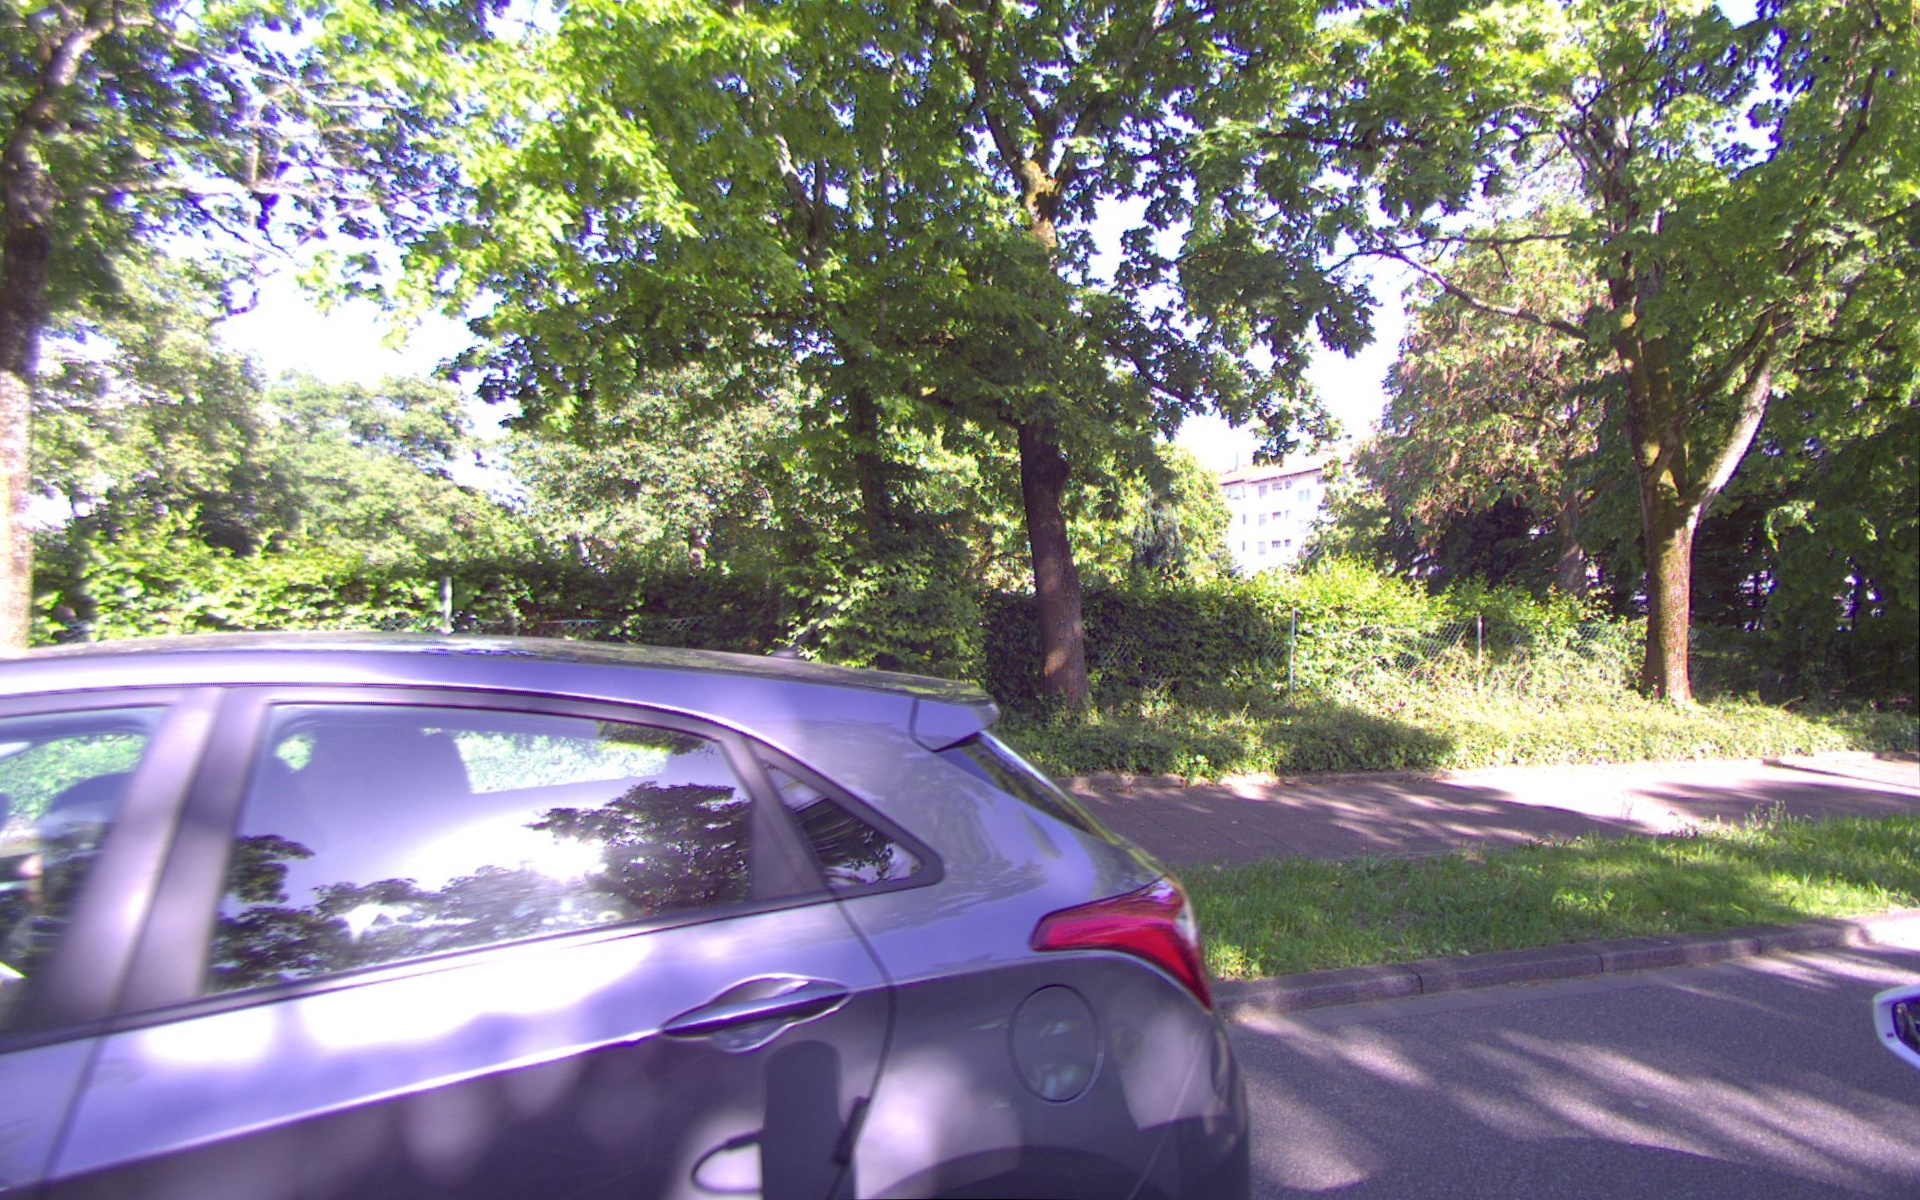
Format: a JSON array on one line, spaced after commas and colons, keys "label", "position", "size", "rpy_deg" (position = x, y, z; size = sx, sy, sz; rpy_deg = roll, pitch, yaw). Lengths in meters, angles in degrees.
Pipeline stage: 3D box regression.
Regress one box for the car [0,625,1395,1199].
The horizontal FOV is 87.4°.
[{"label": "car", "position": [-1.500, 0.780, 1.729], "size": [4.182, 1.473, 1.752], "rpy_deg": [1, -2, -23]}]
